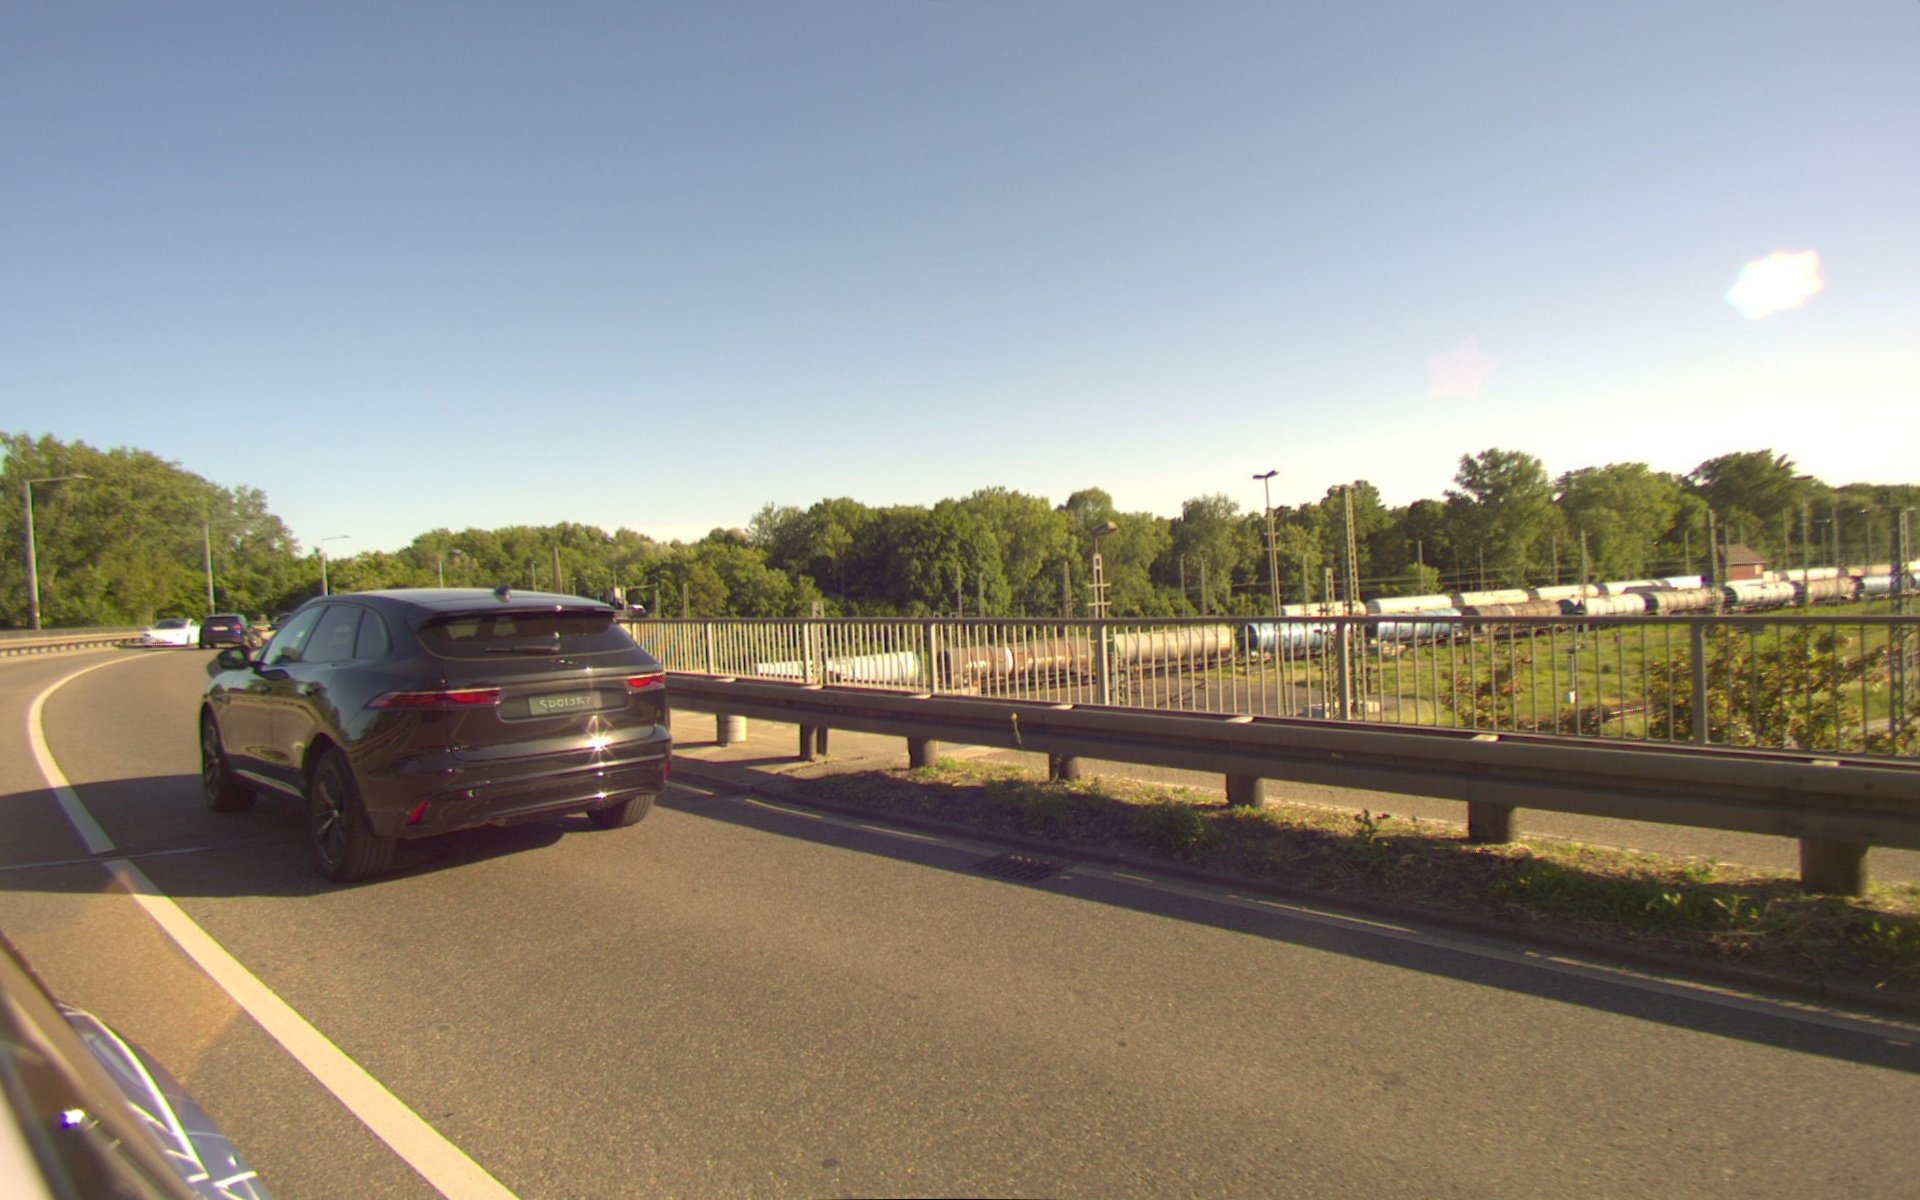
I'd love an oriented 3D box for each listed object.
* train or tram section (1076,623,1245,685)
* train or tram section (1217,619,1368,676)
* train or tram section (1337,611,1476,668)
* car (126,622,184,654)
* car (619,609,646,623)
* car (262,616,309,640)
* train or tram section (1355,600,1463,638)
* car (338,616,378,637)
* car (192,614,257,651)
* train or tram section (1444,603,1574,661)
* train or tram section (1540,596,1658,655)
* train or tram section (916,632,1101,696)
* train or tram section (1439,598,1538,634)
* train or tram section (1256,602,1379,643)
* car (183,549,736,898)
[{"bbox_3d":[18.933,4.889,94.827,16.379,5.054,3.918,-1,-1,-26],"label":"train or tram section"},{"bbox_3d":[33.570,4.627,101.816,16.083,5.054,3.918,-1,-1,-26],"label":"train or tram section"},{"bbox_3d":[48.155,4.095,108.806,16.219,5.560,3.918,-1,-1,-26],"label":"train or tram section"},{"bbox_3d":[-39.996,1.871,50.373,1.961,1.484,4.140,-1,-1,-35],"label":"car"},{"bbox_3d":[-64.035,3.150,197.937,5.695,2.518,2.089,-4,-2,36],"label":"car"},{"bbox_3d":[-48.606,1.989,73.025,1.890,1.630,3.754,-1,0,-18],"label":"car"},{"bbox_3d":[66.820,2.747,150.251,17.874,5.125,4.062,-1,-1,-27],"label":"train or tram section"},{"bbox_3d":[-46.342,2.027,77.946,1.811,1.530,3.781,-1,0,-18],"label":"car"},{"bbox_3d":[-34.117,1.478,47.054,1.798,1.564,4.198,-1,-1,-27],"label":"car"},{"bbox_3d":[62.961,3.578,115.905,16.667,6.055,3.918,-1,-1,-26],"label":"train or tram section"},{"bbox_3d":[77.817,2.978,123.052,16.219,6.661,3.918,-1,-1,-26],"label":"train or tram section"},{"bbox_3d":[4.346,5.378,87.760,16.030,4.626,3.918,-1,-1,-26],"label":"train or tram section"},{"bbox_3d":[82.668,2.465,158.194,17.559,5.125,4.062,-1,-1,-27],"label":"train or tram section"},{"bbox_3d":[50.338,3.040,141.976,19.019,5.125,4.062,-1,-1,-27],"label":"train or tram section"},{"bbox_3d":[-3.672,0.622,6.990,4.462,1.655,1.878,-2,-1,42],"label":"car"}]
